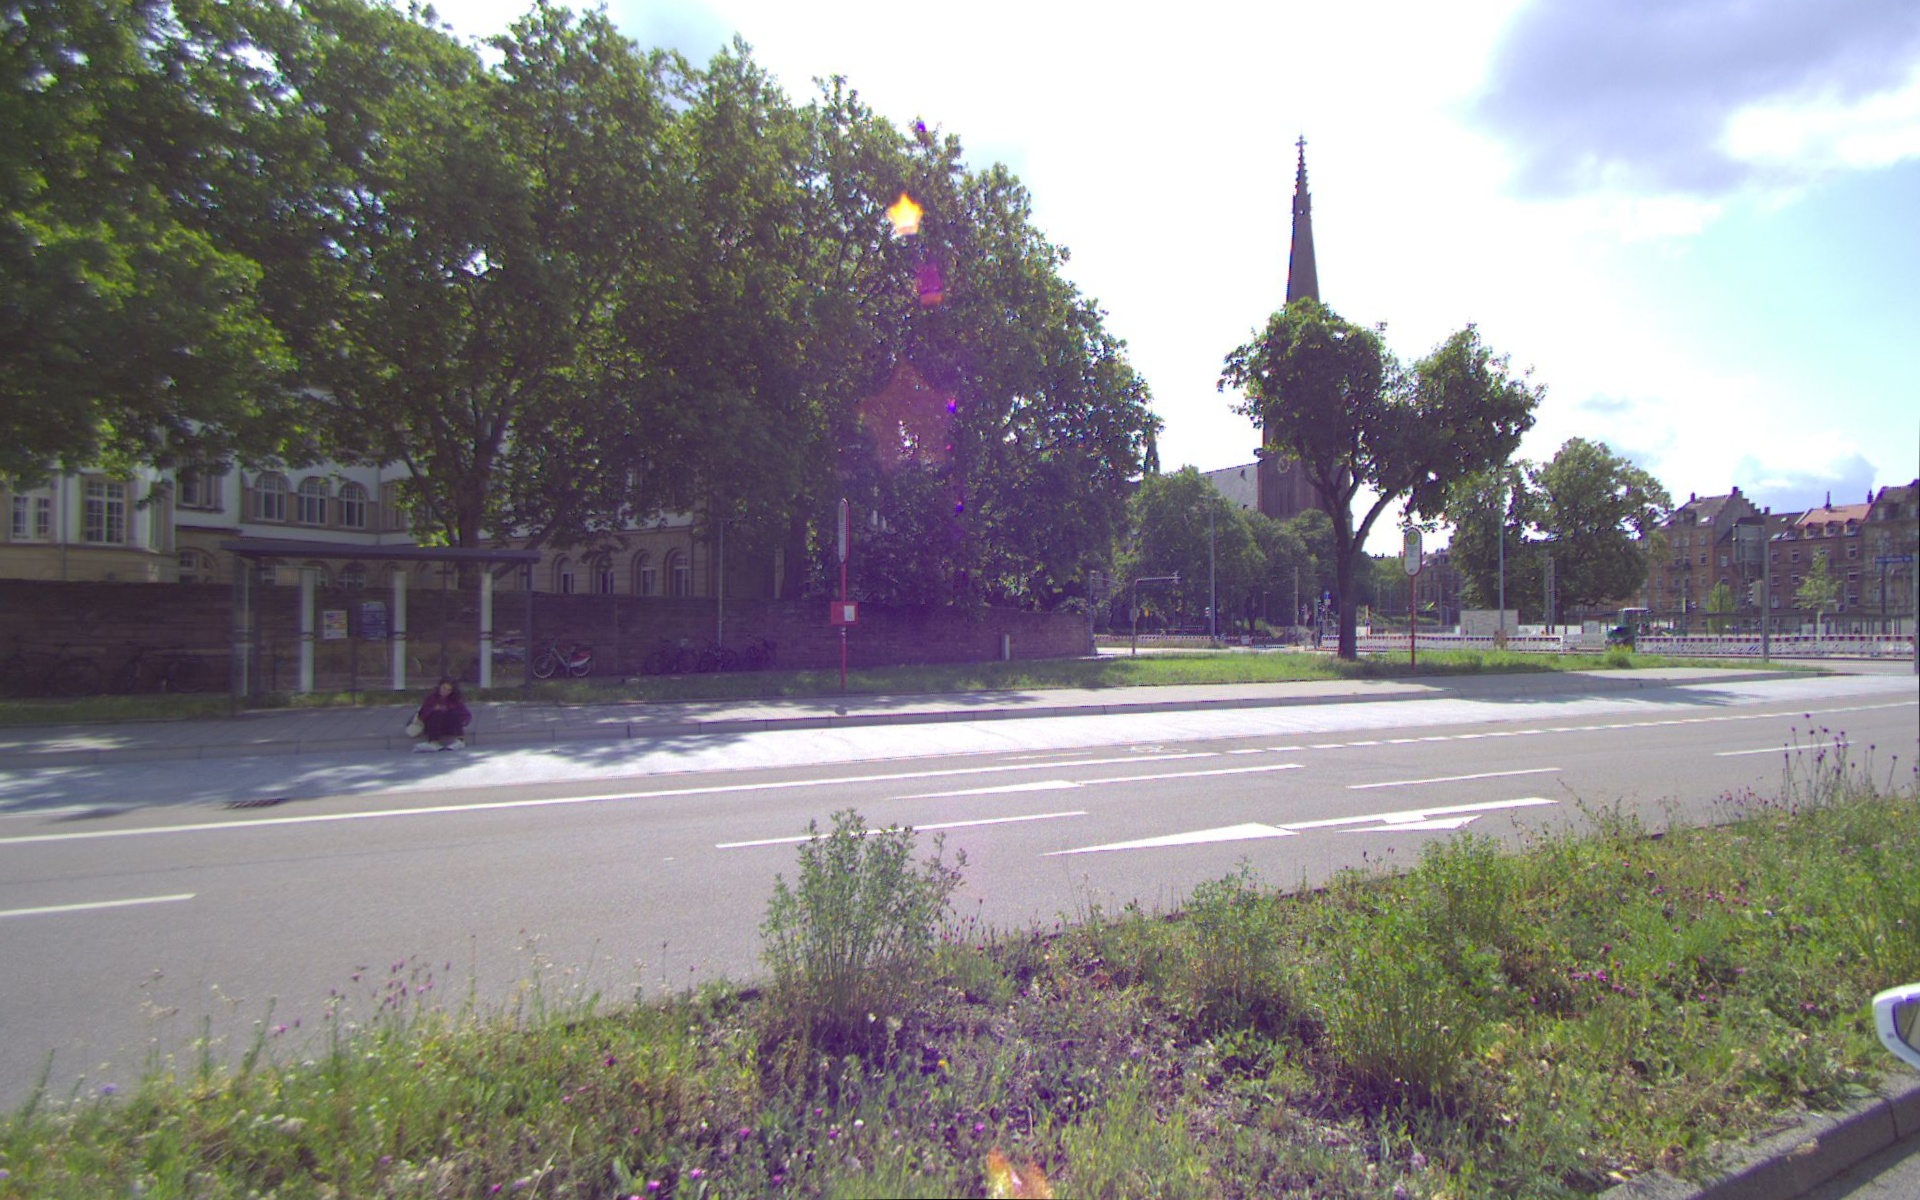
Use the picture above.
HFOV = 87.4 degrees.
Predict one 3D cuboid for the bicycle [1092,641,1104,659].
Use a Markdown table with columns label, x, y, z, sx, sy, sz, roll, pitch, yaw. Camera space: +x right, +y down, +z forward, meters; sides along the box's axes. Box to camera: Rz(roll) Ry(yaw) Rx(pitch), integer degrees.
| label | x | y | z | sx | sy | sz | roll | pitch | yaw |
| --- | --- | --- | --- | --- | --- | --- | --- | --- | --- |
| bicycle | 7.656 | 2.762 | 55.572 | 0.386 | 1.005 | 1.523 | 0 | -2 | 18 |

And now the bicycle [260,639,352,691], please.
| label | x | y | z | sx | sy | sz | roll | pitch | yaw |
| --- | --- | --- | --- | --- | --- | --- | --- | --- | --- |
| bicycle | -14.532 | 1.419 | 22.343 | 0.576 | 1.087 | 1.622 | -1 | -1 | 43 |

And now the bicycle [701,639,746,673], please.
| label | x | y | z | sx | sy | sz | roll | pitch | yaw |
| --- | --- | --- | --- | --- | --- | --- | --- | --- | --- |
| bicycle | -7.303 | 1.713 | 31.013 | 0.387 | 1.024 | 1.362 | -1 | -2 | 44 |

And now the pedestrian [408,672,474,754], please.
| label | x | y | z | sx | sy | sz | roll | pitch | yaw |
| --- | --- | --- | --- | --- | --- | --- | --- | --- | --- |
| pedestrian | -6.735 | 1.455 | 13.066 | 0.733 | 0.975 | 0.692 | 1 | -1 | -26 |

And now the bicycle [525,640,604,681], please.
| label | x | y | z | sx | sy | sz | roll | pitch | yaw |
| --- | --- | --- | --- | --- | --- | --- | --- | --- | --- |
| bicycle | -10.604 | 1.608 | 26.974 | 0.466 | 1.024 | 1.952 | -1 | -2 | 44 |

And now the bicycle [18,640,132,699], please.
| label | x | y | z | sx | sy | sz | roll | pitch | yaw |
| --- | --- | --- | --- | --- | --- | --- | --- | --- | --- |
| bicycle | -17.185 | 1.329 | 19.535 | 0.576 | 1.087 | 1.622 | -1 | -1 | 43 |

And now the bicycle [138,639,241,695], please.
| label | x | y | z | sx | sy | sz | roll | pitch | yaw |
| --- | --- | --- | --- | --- | --- | --- | --- | --- | --- |
| bicycle | -15.966 | 1.372 | 20.829 | 0.576 | 1.087 | 1.622 | -1 | -1 | 43 |

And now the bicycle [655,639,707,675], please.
| label | x | y | z | sx | sy | sz | roll | pitch | yaw |
| --- | --- | --- | --- | --- | --- | --- | --- | --- | --- |
| bicycle | -8.250 | 1.679 | 29.752 | 0.466 | 1.024 | 1.447 | -1 | -2 | 44 |

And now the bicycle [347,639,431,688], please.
| label | x | y | z | sx | sy | sz | roll | pitch | yaw |
| --- | --- | --- | --- | --- | --- | --- | --- | --- | --- |
| bicycle | -13.403 | 1.480 | 23.614 | 0.576 | 1.087 | 1.622 | -1 | -1 | 43 |

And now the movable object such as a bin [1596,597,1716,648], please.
| label | x | y | z | sx | sy | sz | roll | pitch | yaw |
| --- | --- | --- | --- | --- | --- | --- | --- | --- | --- |
| movable object such as a bin | 41.252 | 1.346 | 59.710 | 5.433 | 2.923 | 2.288 | 0 | -2 | 20 |

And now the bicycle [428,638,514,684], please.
| label | x | y | z | sx | sy | sz | roll | pitch | yaw |
| --- | --- | --- | --- | --- | --- | --- | --- | --- | --- |
| bicycle | -12.128 | 1.498 | 24.944 | 1.856 | 1.087 | 0.577 | 1 | -1 | -42 |

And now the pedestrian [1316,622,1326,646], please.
| label | x | y | z | sx | sy | sz | roll | pitch | yaw |
| --- | --- | --- | --- | --- | --- | --- | --- | --- | --- |
| pedestrian | 28.886 | 2.738 | 80.420 | 0.491 | 1.874 | 0.527 | 1 | -2 | -17 |

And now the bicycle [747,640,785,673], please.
| label | x | y | z | sx | sy | sz | roll | pitch | yaw |
| --- | --- | --- | --- | --- | --- | --- | --- | --- | --- |
| bicycle | -6.236 | 1.802 | 32.305 | 0.348 | 1.024 | 1.247 | -1 | -1 | 44 |
